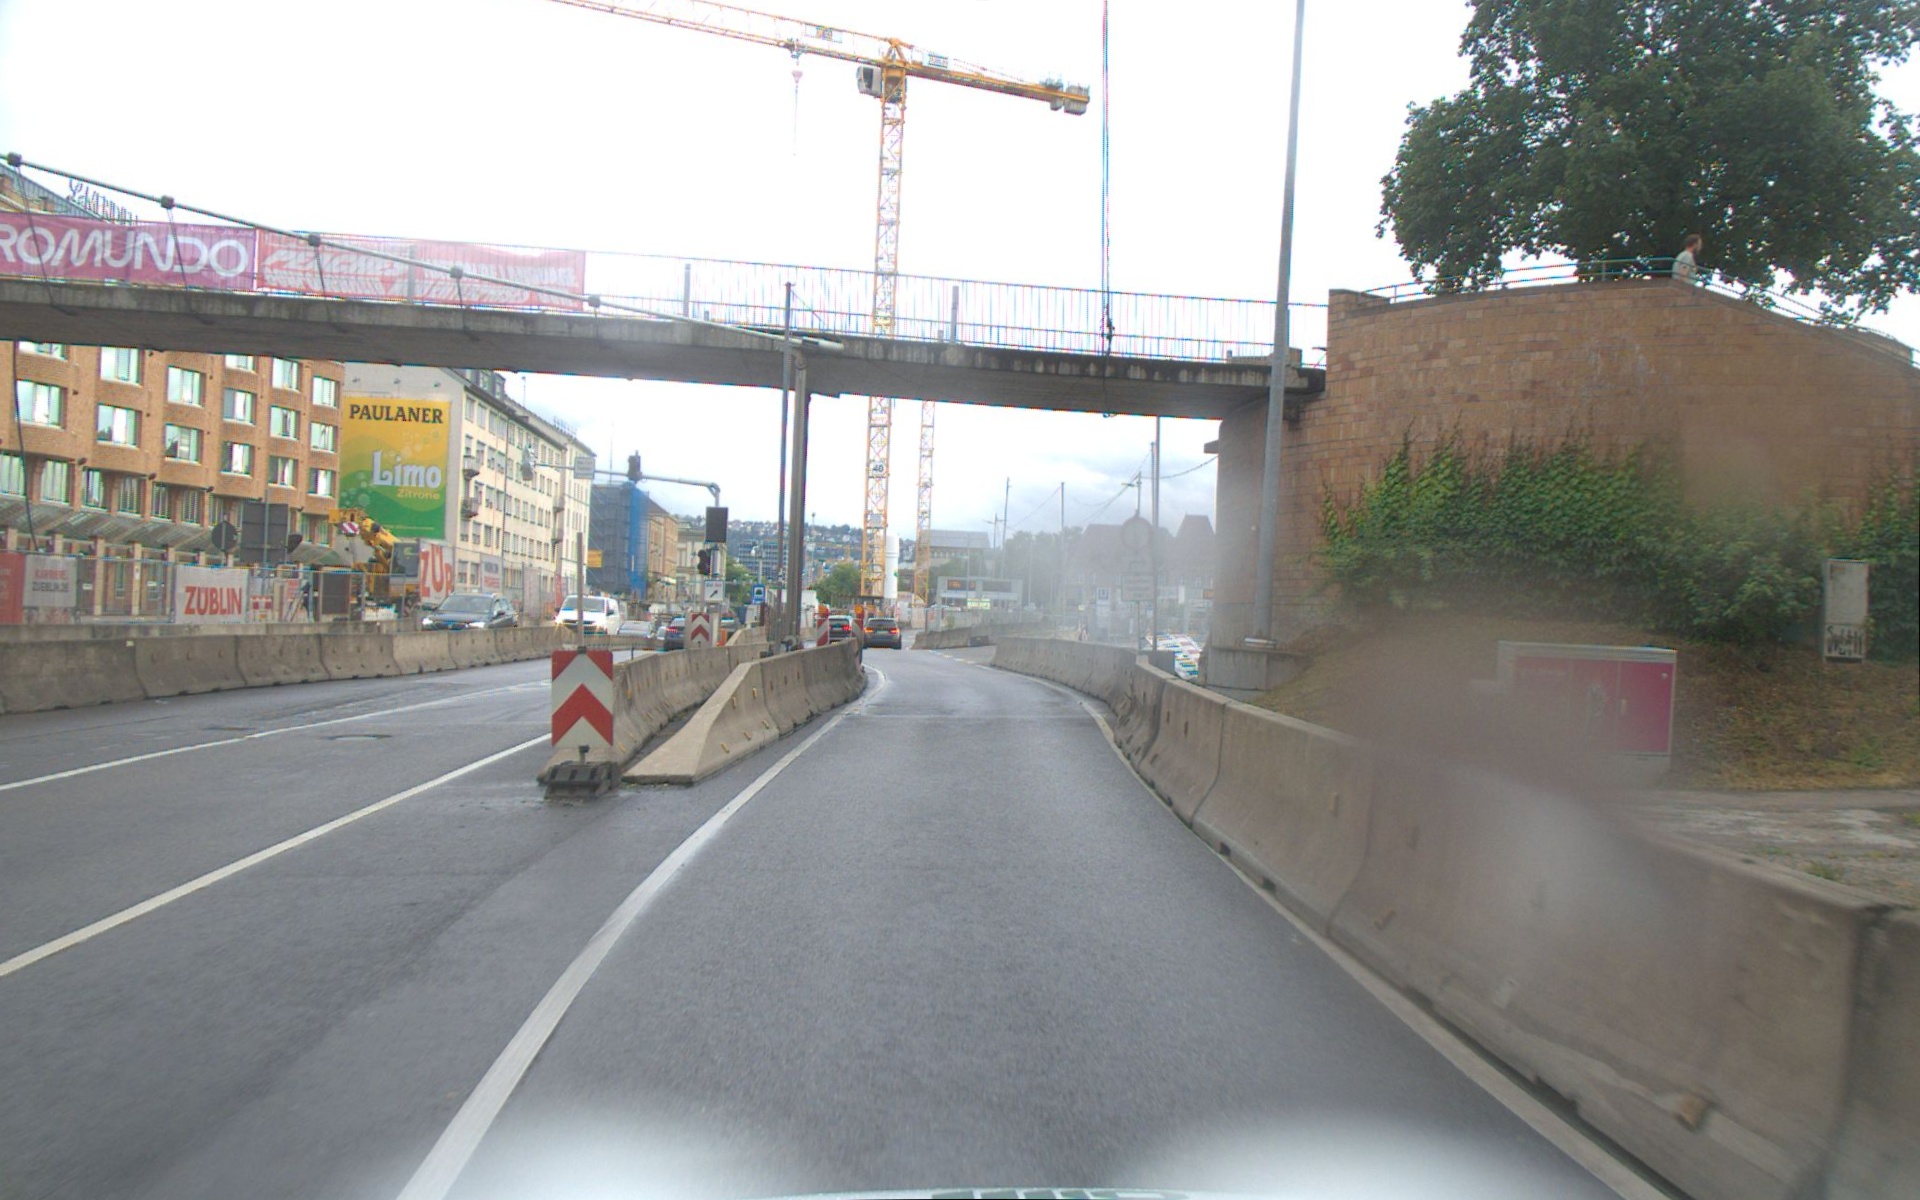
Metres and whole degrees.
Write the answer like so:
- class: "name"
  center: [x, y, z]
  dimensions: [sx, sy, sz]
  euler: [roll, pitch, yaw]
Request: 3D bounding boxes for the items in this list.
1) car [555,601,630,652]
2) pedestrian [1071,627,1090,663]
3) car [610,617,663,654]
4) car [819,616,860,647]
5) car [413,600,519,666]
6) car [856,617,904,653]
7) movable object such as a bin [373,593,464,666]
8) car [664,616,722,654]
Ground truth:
- class: "car"
  center: [-14.177, 0.987, 64.072]
  dimensions: [1.769, 1.853, 5.299]
  euler: [1, 0, -1]
- class: "pedestrian"
  center: [6.013, 2.247, 82.487]
  dimensions: [0.680, 1.809, 0.810]
  euler: [2, -2, -22]
- class: "car"
  center: [-15.610, 1.688, 80.006]
  dimensions: [1.769, 1.651, 4.033]
  euler: [1, 0, -1]
- class: "car"
  center: [-6.811, 1.766, 93.865]
  dimensions: [1.824, 1.690, 4.656]
  euler: [2, 0, 1]
- class: "car"
  center: [-13.540, 0.865, 45.514]
  dimensions: [1.769, 1.651, 3.902]
  euler: [1, 1, -1]
- class: "car"
  center: [-3.627, 1.530, 73.967]
  dimensions: [1.827, 1.458, 4.650]
  euler: [2, 0, -6]
- class: "movable object such as a bin"
  center: [-18.153, 0.976, 55.630]
  dimensions: [1.988, 2.317, 4.287]
  euler: [-2, 0, -6]
- class: "car"
  center: [-11.203, 1.451, 69.692]
  dimensions: [1.825, 1.468, 4.654]
  euler: [2, 0, -2]
